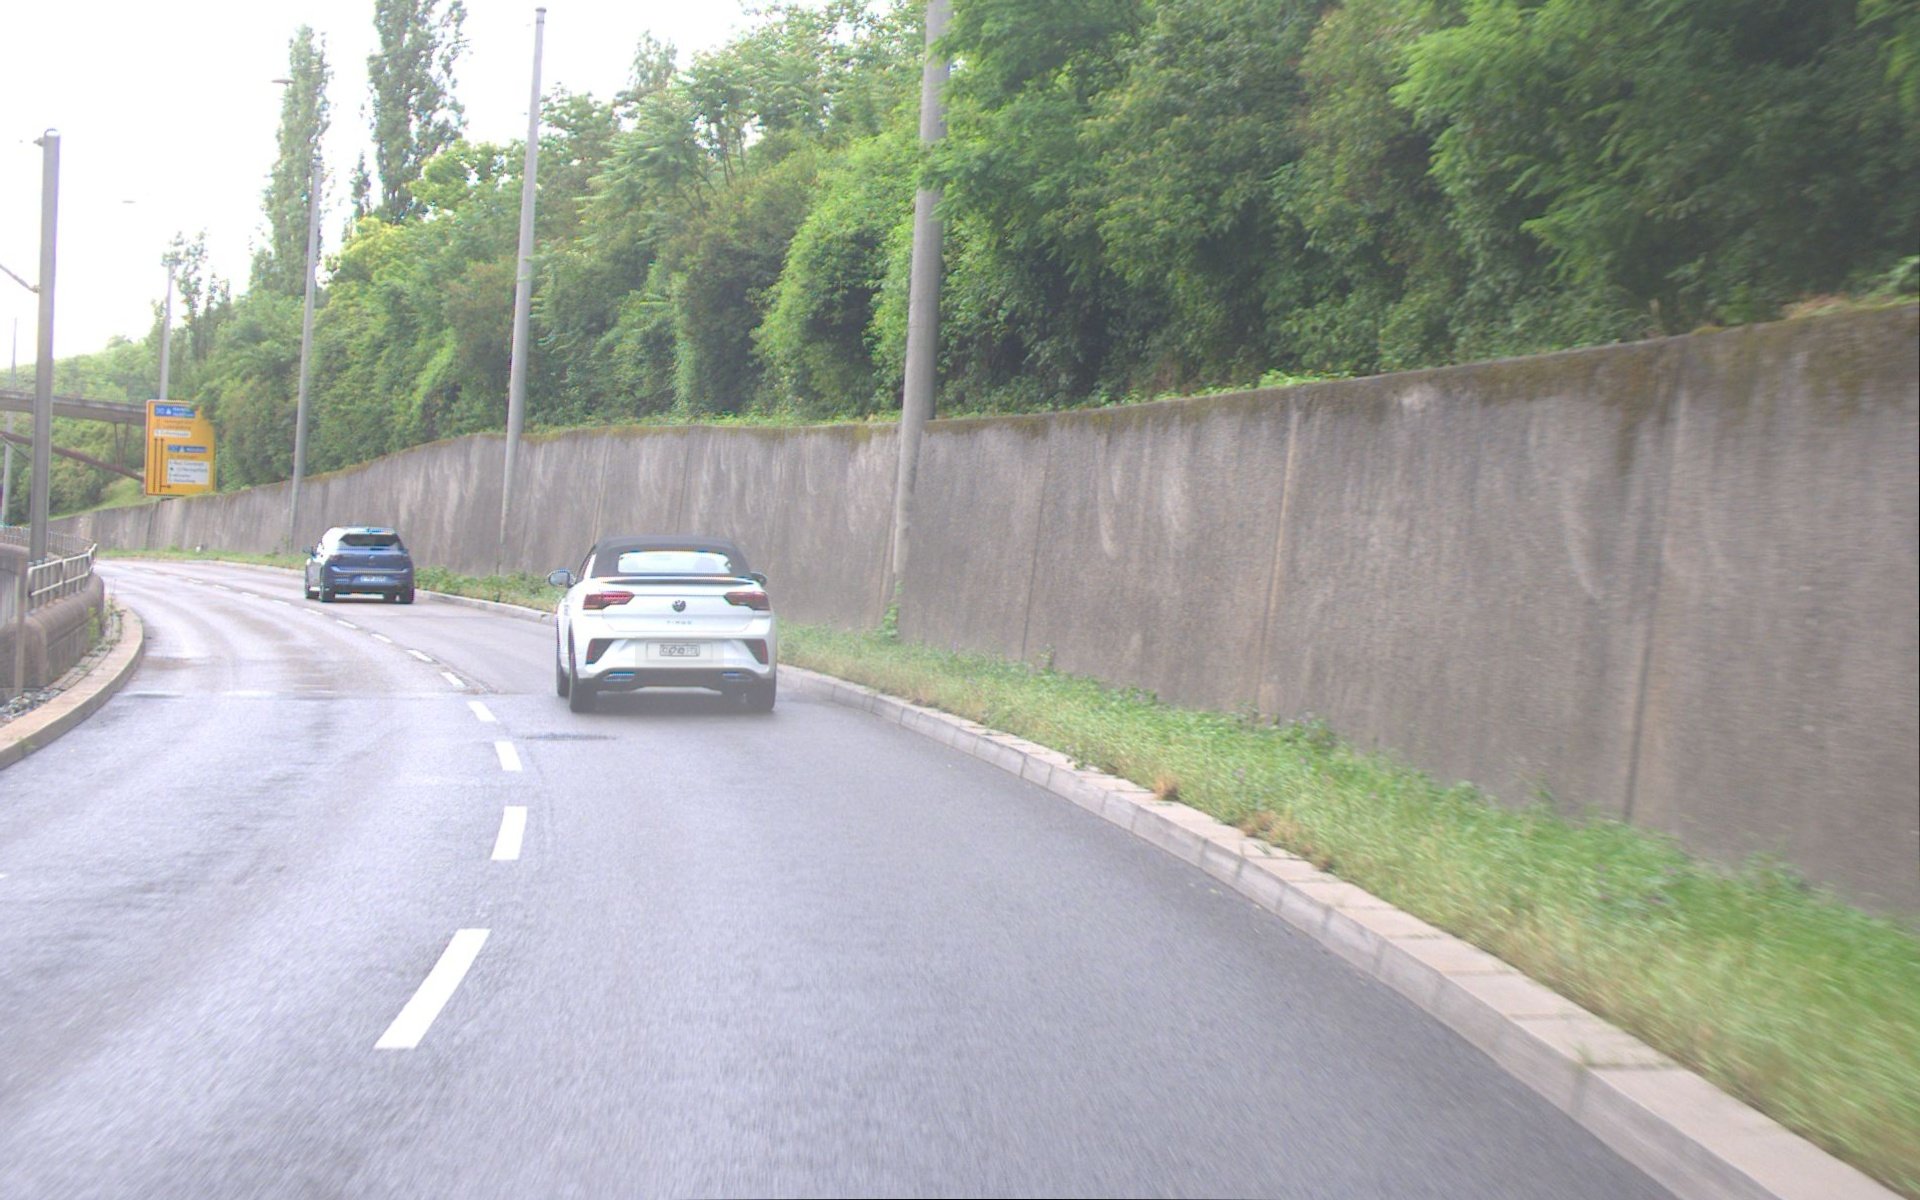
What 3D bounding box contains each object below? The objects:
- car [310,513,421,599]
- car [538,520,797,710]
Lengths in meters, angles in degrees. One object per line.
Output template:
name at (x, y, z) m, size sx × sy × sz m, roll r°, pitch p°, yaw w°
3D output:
car at (-11.606, -0.876, 66.901) m, size 1.926 × 1.594 × 4.063 m, roll 0°, pitch 1°, yaw -13°
car at (-2.706, 0.085, 30.964) m, size 1.995 × 1.573 × 4.127 m, roll 0°, pitch 1°, yaw -9°
